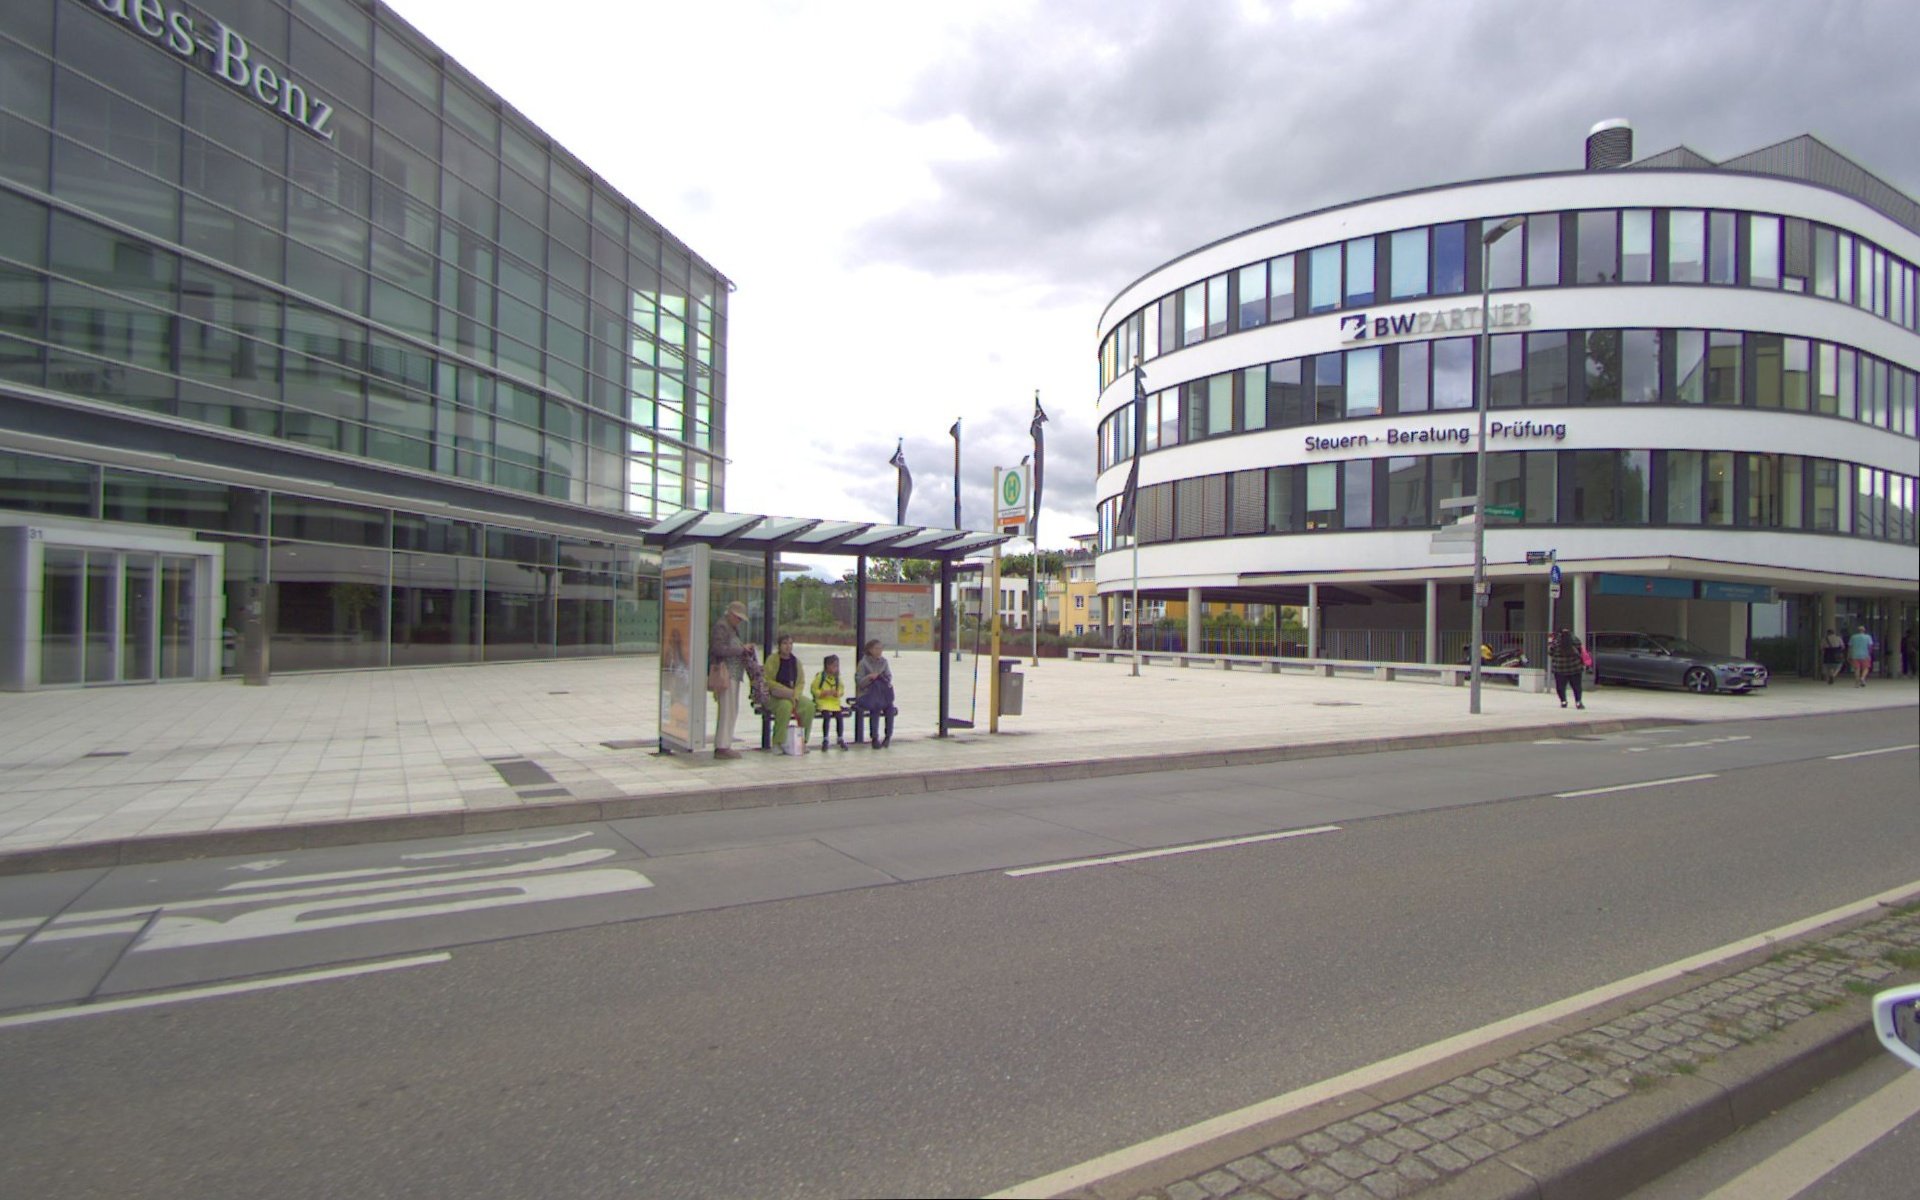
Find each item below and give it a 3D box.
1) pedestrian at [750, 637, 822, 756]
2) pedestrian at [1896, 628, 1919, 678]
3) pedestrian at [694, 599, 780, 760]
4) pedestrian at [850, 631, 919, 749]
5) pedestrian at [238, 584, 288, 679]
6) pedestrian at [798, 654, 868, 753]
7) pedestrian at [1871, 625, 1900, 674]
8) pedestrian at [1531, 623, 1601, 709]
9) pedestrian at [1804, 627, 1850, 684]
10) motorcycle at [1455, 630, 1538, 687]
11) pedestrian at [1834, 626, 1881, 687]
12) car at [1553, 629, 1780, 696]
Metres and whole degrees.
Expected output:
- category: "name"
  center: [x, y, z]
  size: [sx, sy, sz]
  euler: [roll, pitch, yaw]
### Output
- category: "pedestrian"
  center: [-1.947, 1.052, 11.225]
  size: [0.570, 1.270, 0.681]
  euler: [1, -2, -32]
- category: "pedestrian"
  center: [33.557, 1.865, 35.499]
  size: [0.604, 1.732, 0.505]
  euler: [0, -1, 29]
- category: "pedestrian"
  center: [-2.362, 0.828, 10.680]
  size: [0.673, 1.652, 0.576]
  euler: [0, -2, 19]
- category: "pedestrian"
  center: [-0.895, 1.047, 11.900]
  size: [0.570, 1.337, 0.681]
  euler: [1, -3, -32]
- category: "pedestrian"
  center: [-14.837, 0.657, 21.370]
  size: [0.745, 1.971, 0.678]
  euler: [2, 0, -43]
- category: "pedestrian"
  center: [-1.464, 1.171, 11.556]
  size: [0.570, 1.089, 0.681]
  euler: [1, -3, -32]
- category: "pedestrian"
  center: [33.582, 1.802, 36.458]
  size: [0.603, 1.752, 0.506]
  euler: [1, -1, 1]
- category: "pedestrian"
  center: [11.711, 1.262, 19.423]
  size: [0.802, 1.588, 0.827]
  euler: [1, 0, -25]
- category: "pedestrian"
  center: [26.053, 1.656, 30.189]
  size: [0.920, 1.635, 0.727]
  euler: [1, 0, -29]
- category: "motorcycle"
  center: [13.925, 1.495, 26.108]
  size: [0.628, 1.351, 1.848]
  euler: [2, 1, -26]
- category: "pedestrian"
  center: [26.018, 1.631, 29.116]
  size: [0.920, 1.696, 0.727]
  euler: [1, 0, -29]
- category: "car"
  center: [18.019, 1.534, 25.889]
  size: [1.877, 1.434, 4.441]
  euler: [2, 0, -26]
